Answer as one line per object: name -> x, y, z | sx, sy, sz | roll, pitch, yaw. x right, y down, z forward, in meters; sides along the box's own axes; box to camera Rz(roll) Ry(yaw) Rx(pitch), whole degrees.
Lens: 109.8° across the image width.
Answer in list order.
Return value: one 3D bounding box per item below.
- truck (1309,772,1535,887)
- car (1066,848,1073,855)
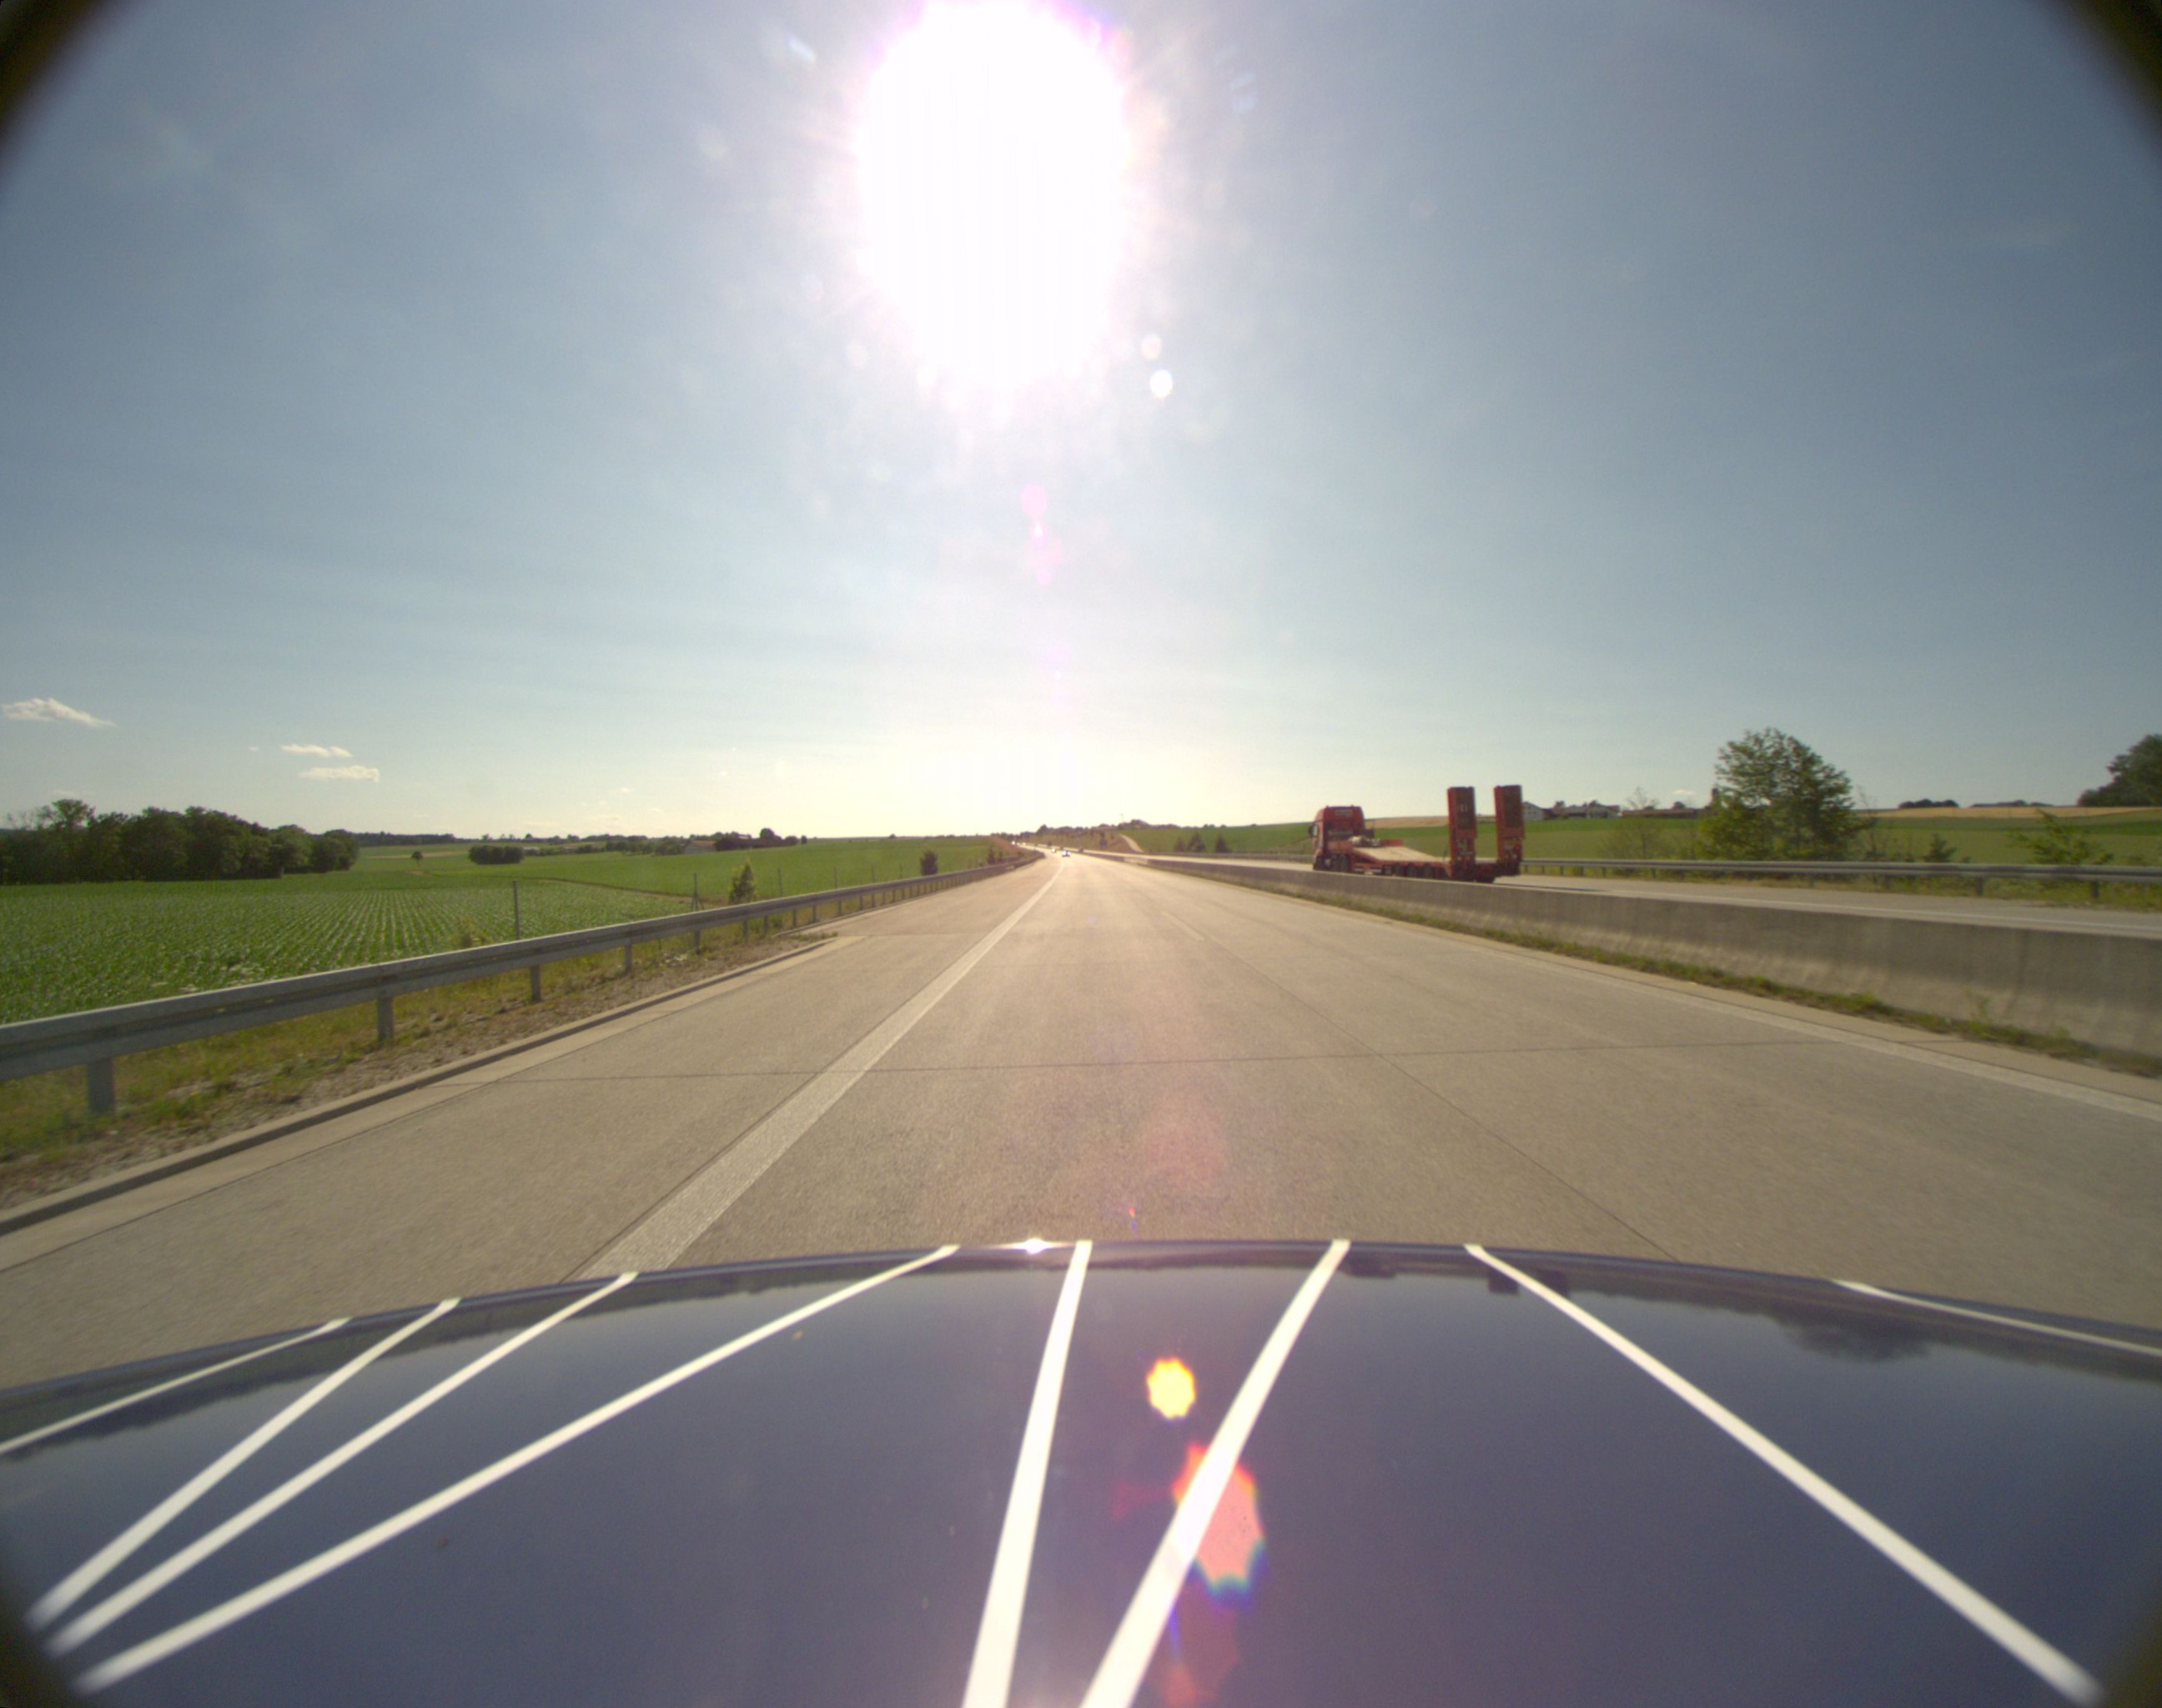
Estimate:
truck -> 14.606, -0.942, 35.369 | 2.875, 3.992, 17.113 | -1, 1, 0
car -> -2.794, -0.707, 185.241 | 1.715, 1.580, 4.627 | -2, 1, 1
